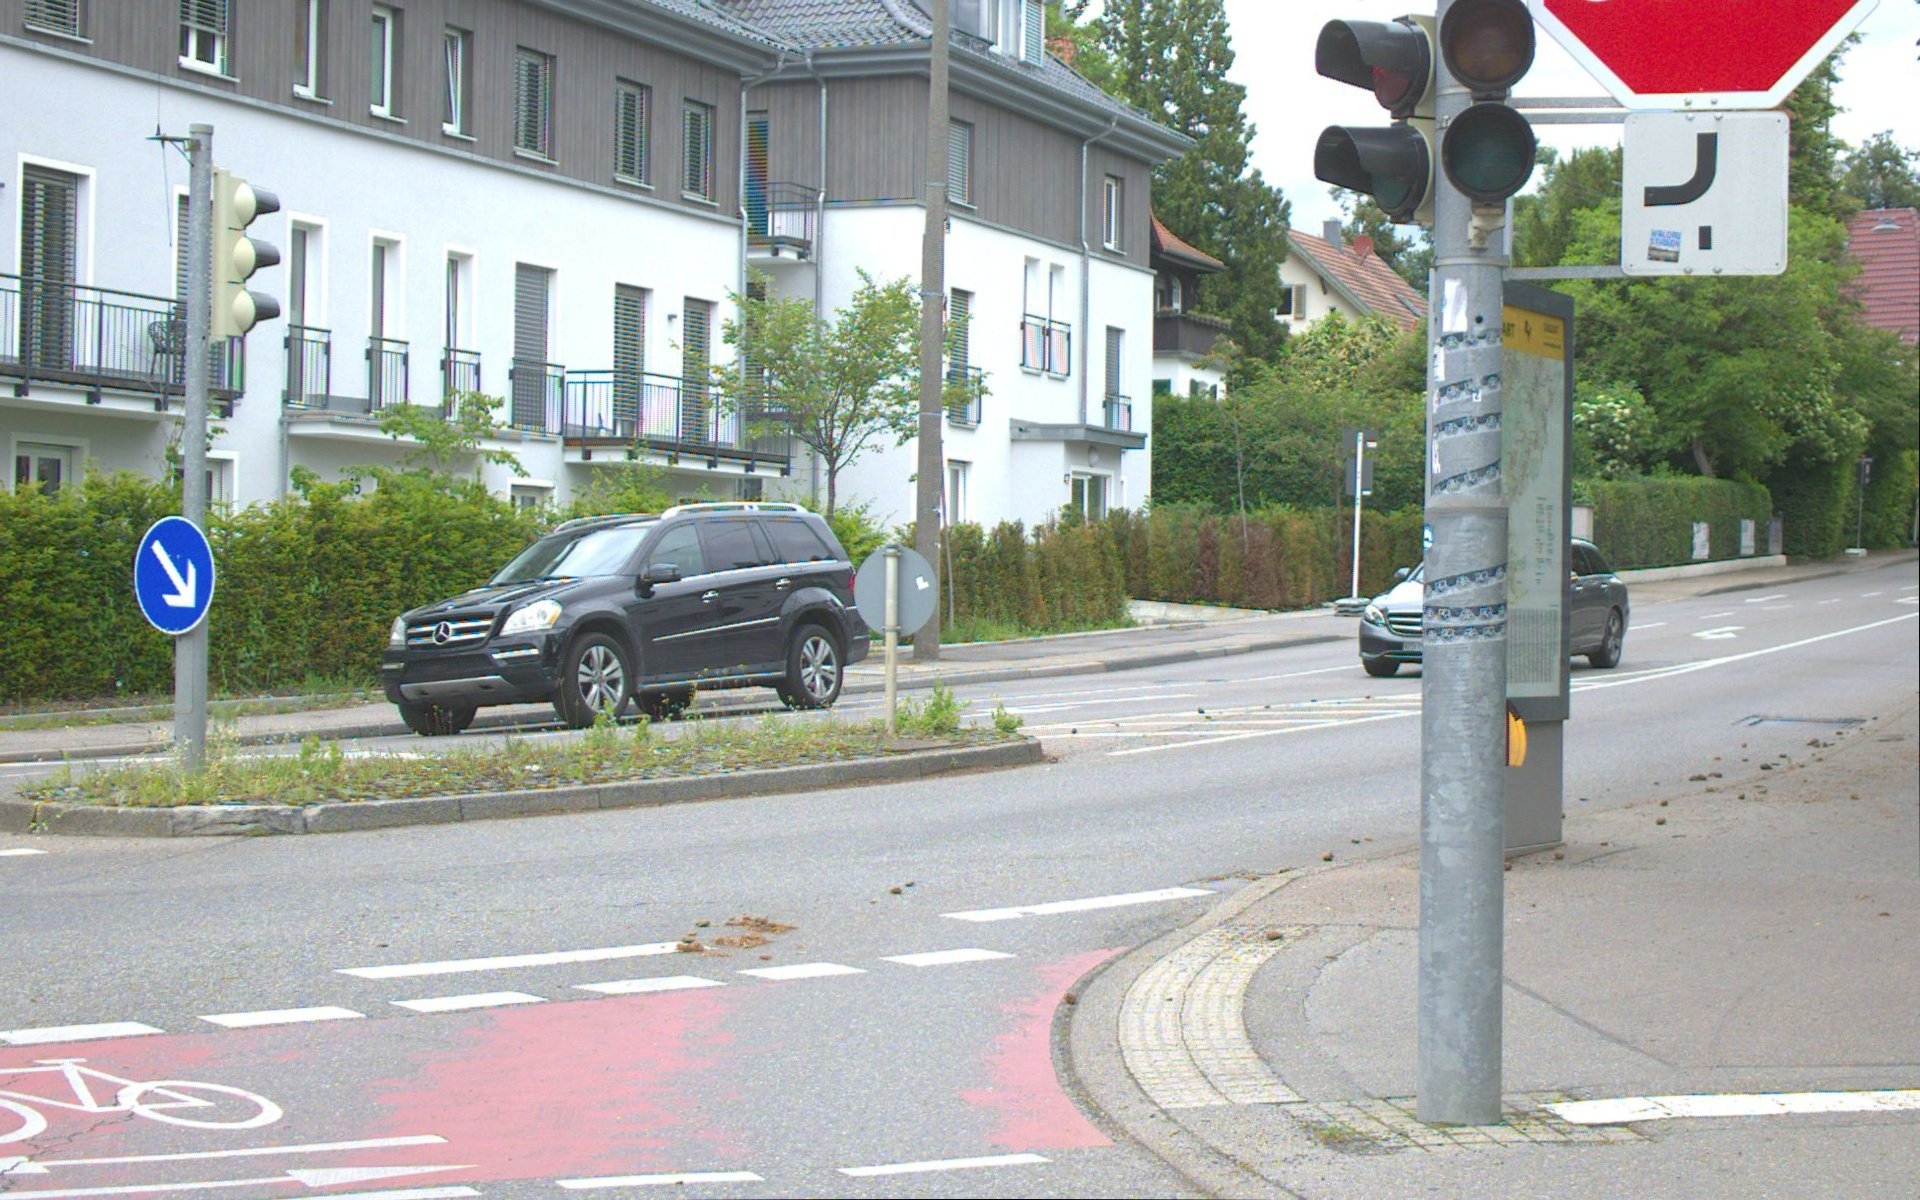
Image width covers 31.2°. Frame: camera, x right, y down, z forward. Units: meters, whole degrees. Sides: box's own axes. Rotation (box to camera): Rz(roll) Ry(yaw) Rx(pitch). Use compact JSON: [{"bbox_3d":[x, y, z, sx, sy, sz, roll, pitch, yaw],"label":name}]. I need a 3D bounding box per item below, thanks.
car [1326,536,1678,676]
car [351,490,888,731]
[{"bbox_3d":[5.973,0.014,37.438,1.942,1.399,4.733,1,2,34],"label":"car"},{"bbox_3d":[-2.784,0.061,29.483,1.915,1.874,5.133,-1,0,30],"label":"car"}]
